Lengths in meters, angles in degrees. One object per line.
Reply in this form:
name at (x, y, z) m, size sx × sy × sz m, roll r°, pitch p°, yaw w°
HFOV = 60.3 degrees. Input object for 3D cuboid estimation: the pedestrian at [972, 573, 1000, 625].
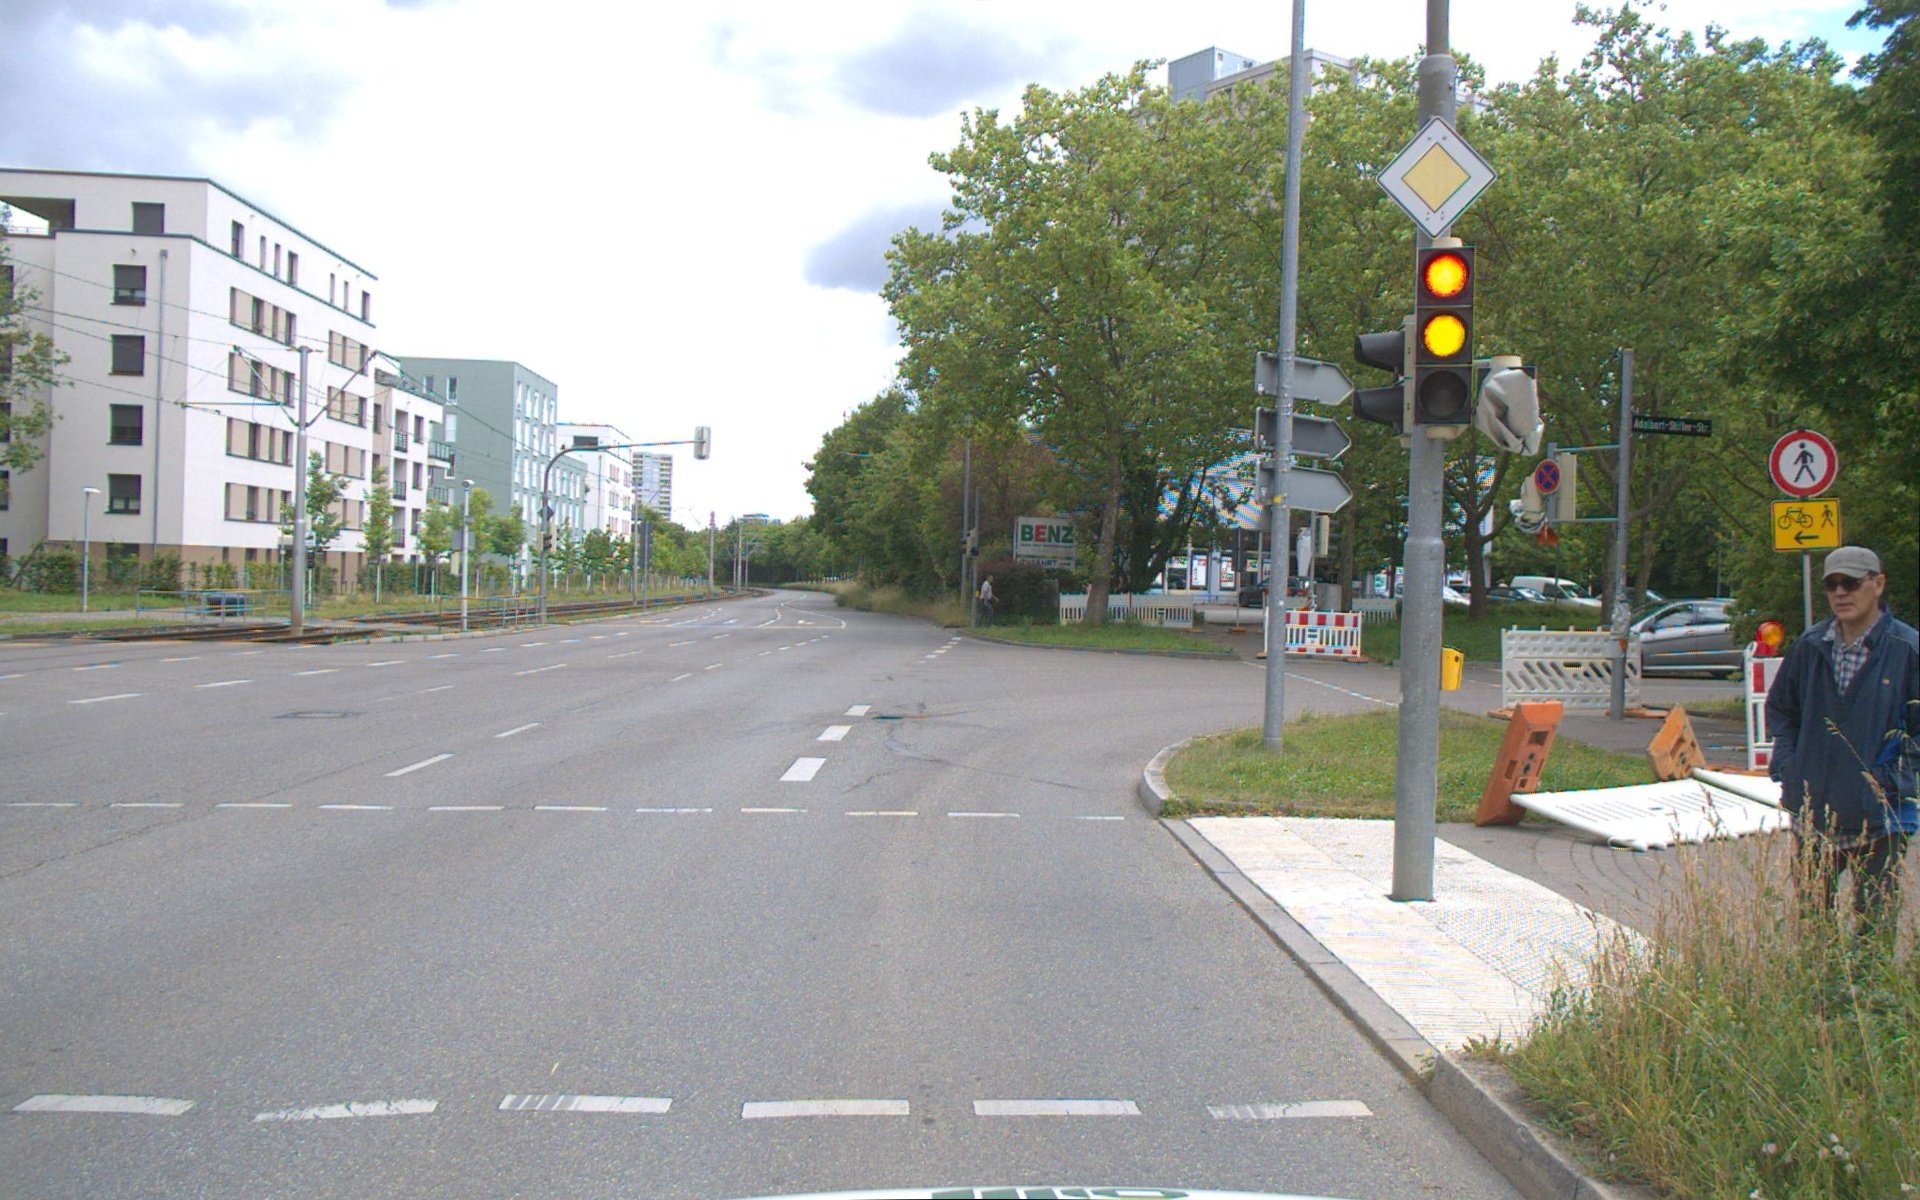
pedestrian at (0.808, -0.023, 51.809) m, size 0.831 × 1.614 × 0.796 m, roll 1°, pitch -1°, yaw -2°

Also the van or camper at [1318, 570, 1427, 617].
van or camper at (15.491, -0.261, 62.234) m, size 1.819 × 1.713 × 3.964 m, roll 0°, pitch 1°, yaw -28°

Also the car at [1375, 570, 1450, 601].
car at (21.469, -0.695, 78.555) m, size 1.465 × 1.429 × 3.372 m, roll 1°, pitch 0°, yaw -31°

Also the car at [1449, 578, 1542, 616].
car at (21.097, -0.126, 65.255) m, size 1.464 × 1.429 × 3.375 m, roll 1°, pitch 0°, yaw -30°

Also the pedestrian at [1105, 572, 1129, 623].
pedestrian at (4.743, -0.075, 50.025) m, size 0.682 × 1.515 × 0.720 m, roll 1°, pitch -1°, yaw 5°

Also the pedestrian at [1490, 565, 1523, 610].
pedestrian at (23.398, -0.513, 70.838) m, size 1.050 × 1.904 × 1.059 m, roll 1°, pitch 0°, yaw -2°

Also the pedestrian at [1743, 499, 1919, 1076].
pedestrian at (3.064, 0.572, 5.561) m, size 0.712 × 1.770 × 0.954 m, roll 1°, pitch 0°, yaw 28°

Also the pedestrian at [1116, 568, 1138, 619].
pedestrian at (5.244, -0.197, 51.973) m, size 0.639 × 1.565 × 0.773 m, roll 1°, pitch -1°, yaw 7°

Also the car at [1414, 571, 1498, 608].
car at (24.054, -0.508, 80.253) m, size 1.650 × 1.663 × 3.783 m, roll 1°, pitch 1°, yaw -31°

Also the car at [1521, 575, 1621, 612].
car at (25.542, -0.257, 69.252) m, size 1.465 × 1.491 × 3.851 m, roll 1°, pitch 0°, yaw -31°

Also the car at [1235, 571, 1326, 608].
car at (14.062, -0.451, 72.730) m, size 1.708 × 1.526 × 4.232 m, roll 1°, pitch 0°, yaw -27°

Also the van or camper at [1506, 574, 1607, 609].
van or camper at (24.155, -0.340, 67.056) m, size 1.499 × 1.380 × 3.732 m, roll 1°, pitch 0°, yaw -33°

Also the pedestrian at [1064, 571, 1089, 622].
pedestrian at (3.536, -0.100, 50.349) m, size 0.683 × 1.515 × 0.688 m, roll 1°, pitch -1°, yaw 0°

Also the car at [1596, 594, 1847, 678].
car at (15.495, 0.722, 33.805) m, size 4.307 × 1.614 × 1.772 m, roll 1°, pitch 0°, yaw 0°
